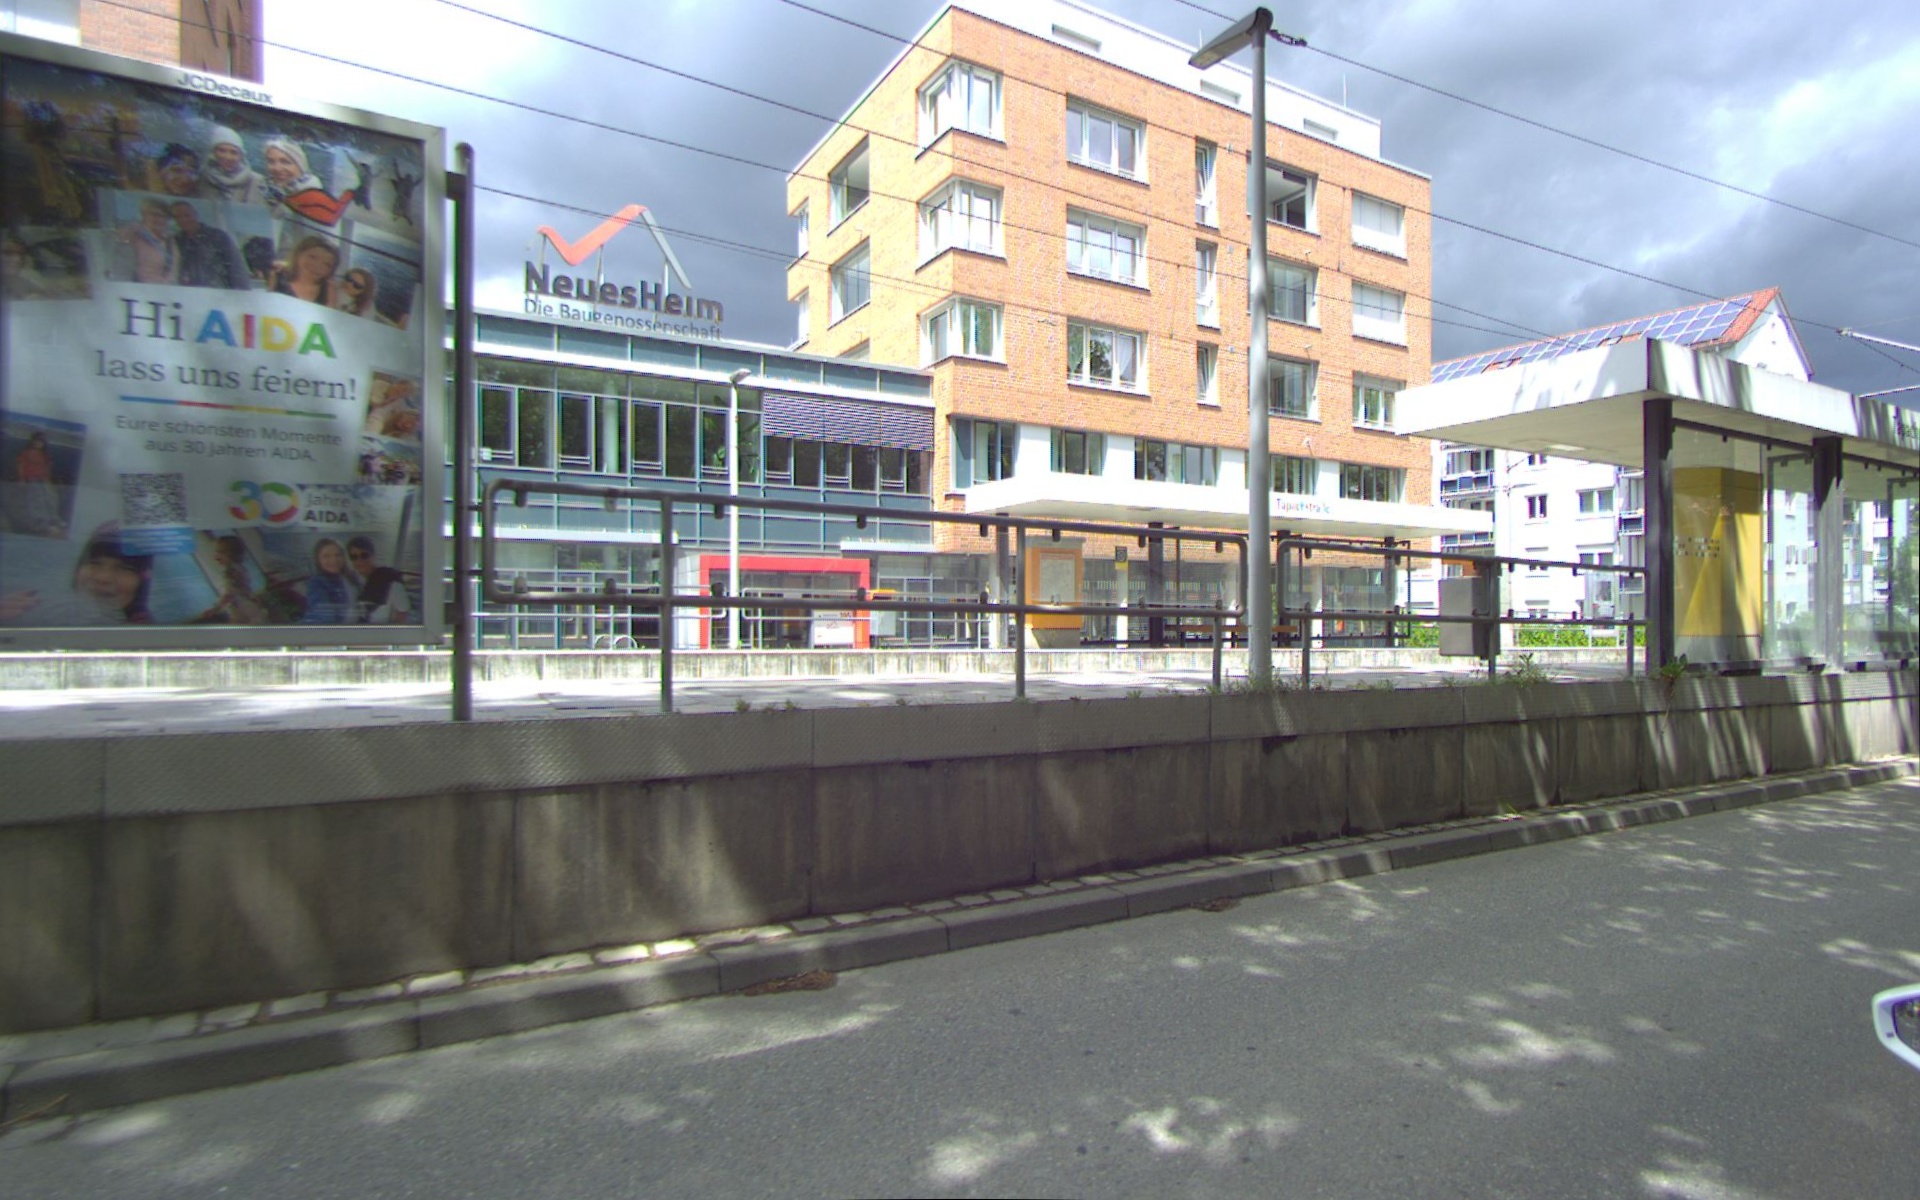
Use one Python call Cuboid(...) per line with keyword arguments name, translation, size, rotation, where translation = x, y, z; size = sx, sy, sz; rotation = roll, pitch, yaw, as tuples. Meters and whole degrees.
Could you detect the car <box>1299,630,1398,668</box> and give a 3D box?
Cuboid(name="car", translation=(16.767, 2.084, 43.321), size=(3.951, 1.572, 1.887), rotation=(1, -2, -29))
